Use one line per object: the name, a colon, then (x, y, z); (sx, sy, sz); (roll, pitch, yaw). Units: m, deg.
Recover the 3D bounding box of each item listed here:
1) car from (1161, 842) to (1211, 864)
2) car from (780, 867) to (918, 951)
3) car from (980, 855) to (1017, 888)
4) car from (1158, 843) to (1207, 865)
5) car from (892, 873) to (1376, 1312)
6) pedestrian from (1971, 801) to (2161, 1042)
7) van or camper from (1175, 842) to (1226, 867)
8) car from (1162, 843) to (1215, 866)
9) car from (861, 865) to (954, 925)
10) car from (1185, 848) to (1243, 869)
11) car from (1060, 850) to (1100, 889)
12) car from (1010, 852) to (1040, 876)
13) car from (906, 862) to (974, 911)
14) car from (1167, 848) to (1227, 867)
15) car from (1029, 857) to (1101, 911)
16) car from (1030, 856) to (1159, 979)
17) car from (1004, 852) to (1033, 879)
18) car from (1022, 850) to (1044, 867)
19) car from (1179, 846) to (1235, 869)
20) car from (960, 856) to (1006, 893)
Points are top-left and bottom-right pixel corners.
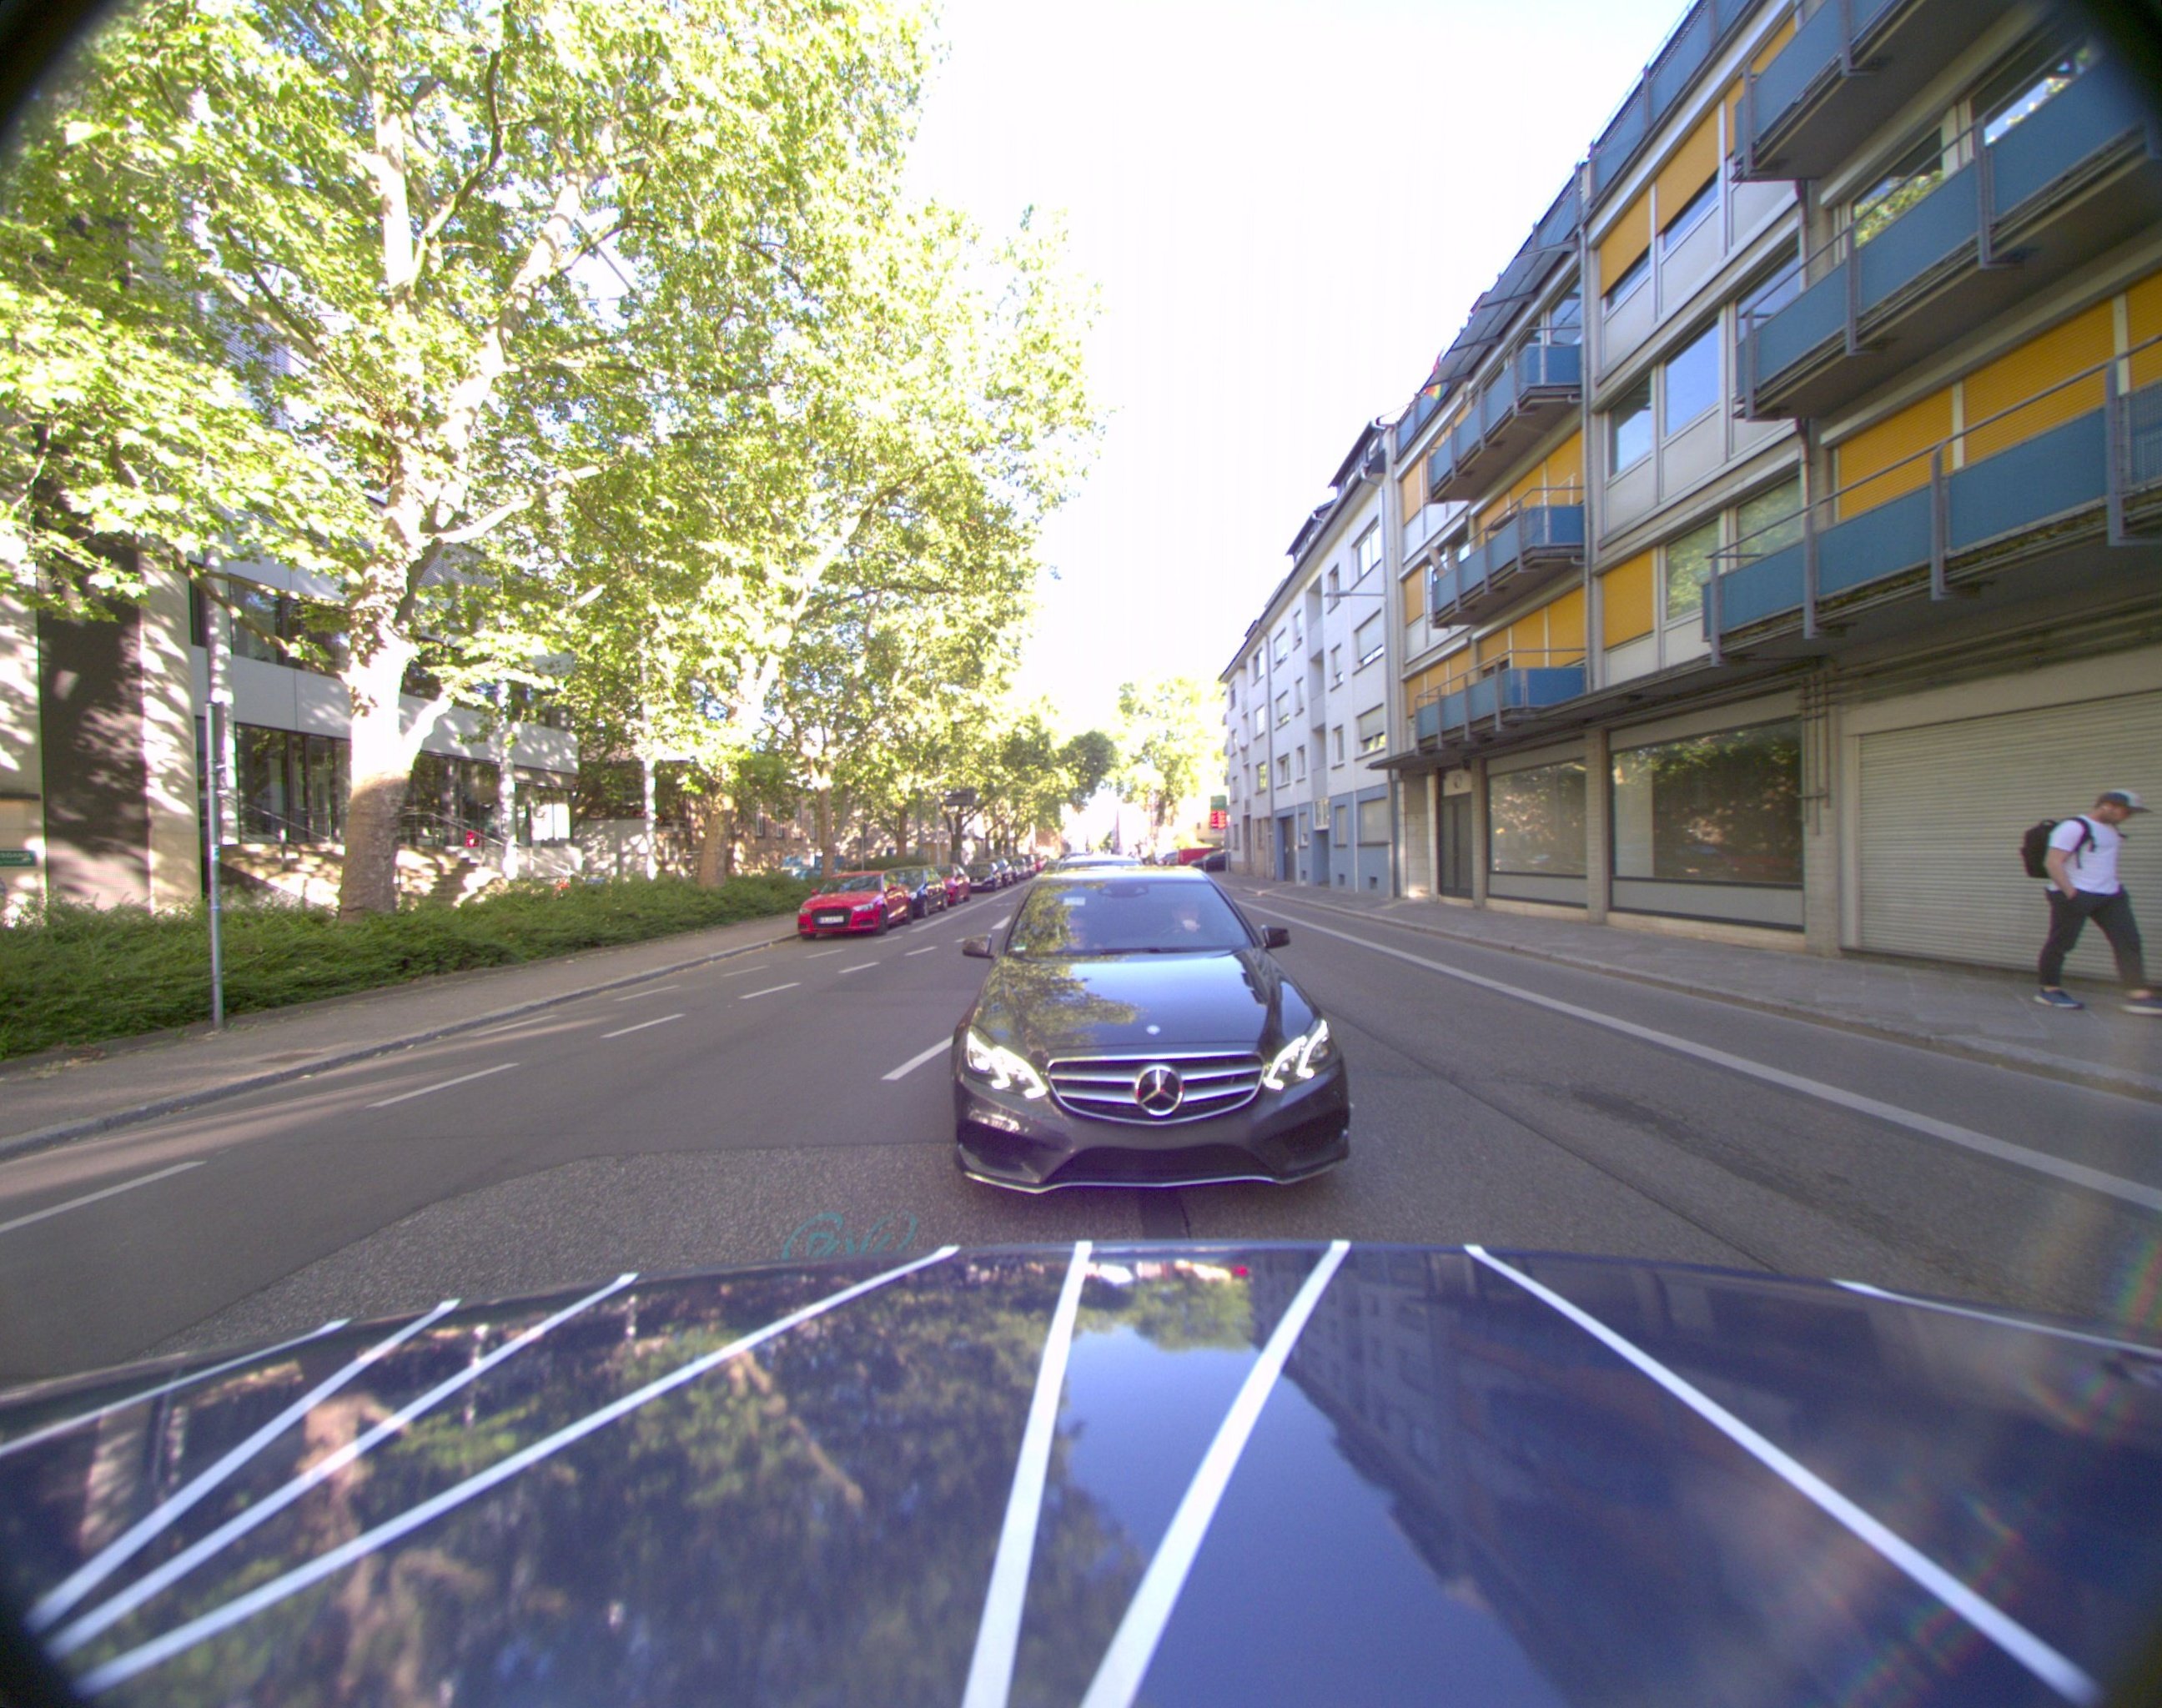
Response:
car: (11.023, -0.103, 80.190); (4.991, 2.181, 2.000); (-2, 1, 1)
car: (-5.187, 1.171, 17.606); (1.830, 1.519, 4.142); (-4, 0, 0)
car: (-4.536, 0.911, 42.281); (1.634, 1.677, 3.907); (-2, 0, 0)
car: (11.026, -0.010, 82.822); (4.991, 2.181, 2.000); (-2, 1, 1)
car: (0.193, 0.928, 4.734); (1.740, 1.448, 3.864); (-2, 0, 0)
pedestrian: (8.044, 0.501, 6.144); (0.601, 1.790, 0.879); (-3, 1, 1)
van or camper: (10.049, 0.022, 64.198); (3.997, 2.002, 2.000); (-2, 1, 0)
car: (10.903, 0.024, 77.339); (4.991, 2.181, 2.000); (-2, 1, 1)
car: (-5.045, 1.133, 22.657); (1.741, 1.444, 4.091); (-4, 0, 0)
car: (10.305, 0.323, 58.961); (4.146, 1.486, 2.000); (-2, 0, 1)
car: (0.003, 0.753, 39.519); (1.785, 1.760, 4.385); (-4, 0, 2)
car: (-4.354, 0.765, 59.847); (1.992, 1.795, 4.376); (-2, 0, 0)
car: (-5.025, 1.122, 27.602); (1.681, 1.484, 3.918); (-4, 0, 0)
car: (10.150, 0.283, 66.701); (4.990, 1.486, 2.000); (-2, 0, 1)
car: (-0.426, 0.893, 24.324); (1.647, 1.473, 3.978); (-2, 0, 8)
car: (0.209, 0.858, 12.531); (1.646, 1.520, 4.619); (-4, 0, 1)
car: (-4.437, 0.799, 54.715); (1.741, 1.785, 3.895); (-2, 0, 0)
car: (-4.394, 0.434, 70.444); (1.741, 1.469, 4.091); (-2, 0, 0)
car: (10.128, 0.268, 61.292); (4.146, 1.681, 2.000); (-2, 0, 1)
car: (-4.766, 0.965, 37.423); (1.741, 1.622, 4.091); (-2, 0, 0)
